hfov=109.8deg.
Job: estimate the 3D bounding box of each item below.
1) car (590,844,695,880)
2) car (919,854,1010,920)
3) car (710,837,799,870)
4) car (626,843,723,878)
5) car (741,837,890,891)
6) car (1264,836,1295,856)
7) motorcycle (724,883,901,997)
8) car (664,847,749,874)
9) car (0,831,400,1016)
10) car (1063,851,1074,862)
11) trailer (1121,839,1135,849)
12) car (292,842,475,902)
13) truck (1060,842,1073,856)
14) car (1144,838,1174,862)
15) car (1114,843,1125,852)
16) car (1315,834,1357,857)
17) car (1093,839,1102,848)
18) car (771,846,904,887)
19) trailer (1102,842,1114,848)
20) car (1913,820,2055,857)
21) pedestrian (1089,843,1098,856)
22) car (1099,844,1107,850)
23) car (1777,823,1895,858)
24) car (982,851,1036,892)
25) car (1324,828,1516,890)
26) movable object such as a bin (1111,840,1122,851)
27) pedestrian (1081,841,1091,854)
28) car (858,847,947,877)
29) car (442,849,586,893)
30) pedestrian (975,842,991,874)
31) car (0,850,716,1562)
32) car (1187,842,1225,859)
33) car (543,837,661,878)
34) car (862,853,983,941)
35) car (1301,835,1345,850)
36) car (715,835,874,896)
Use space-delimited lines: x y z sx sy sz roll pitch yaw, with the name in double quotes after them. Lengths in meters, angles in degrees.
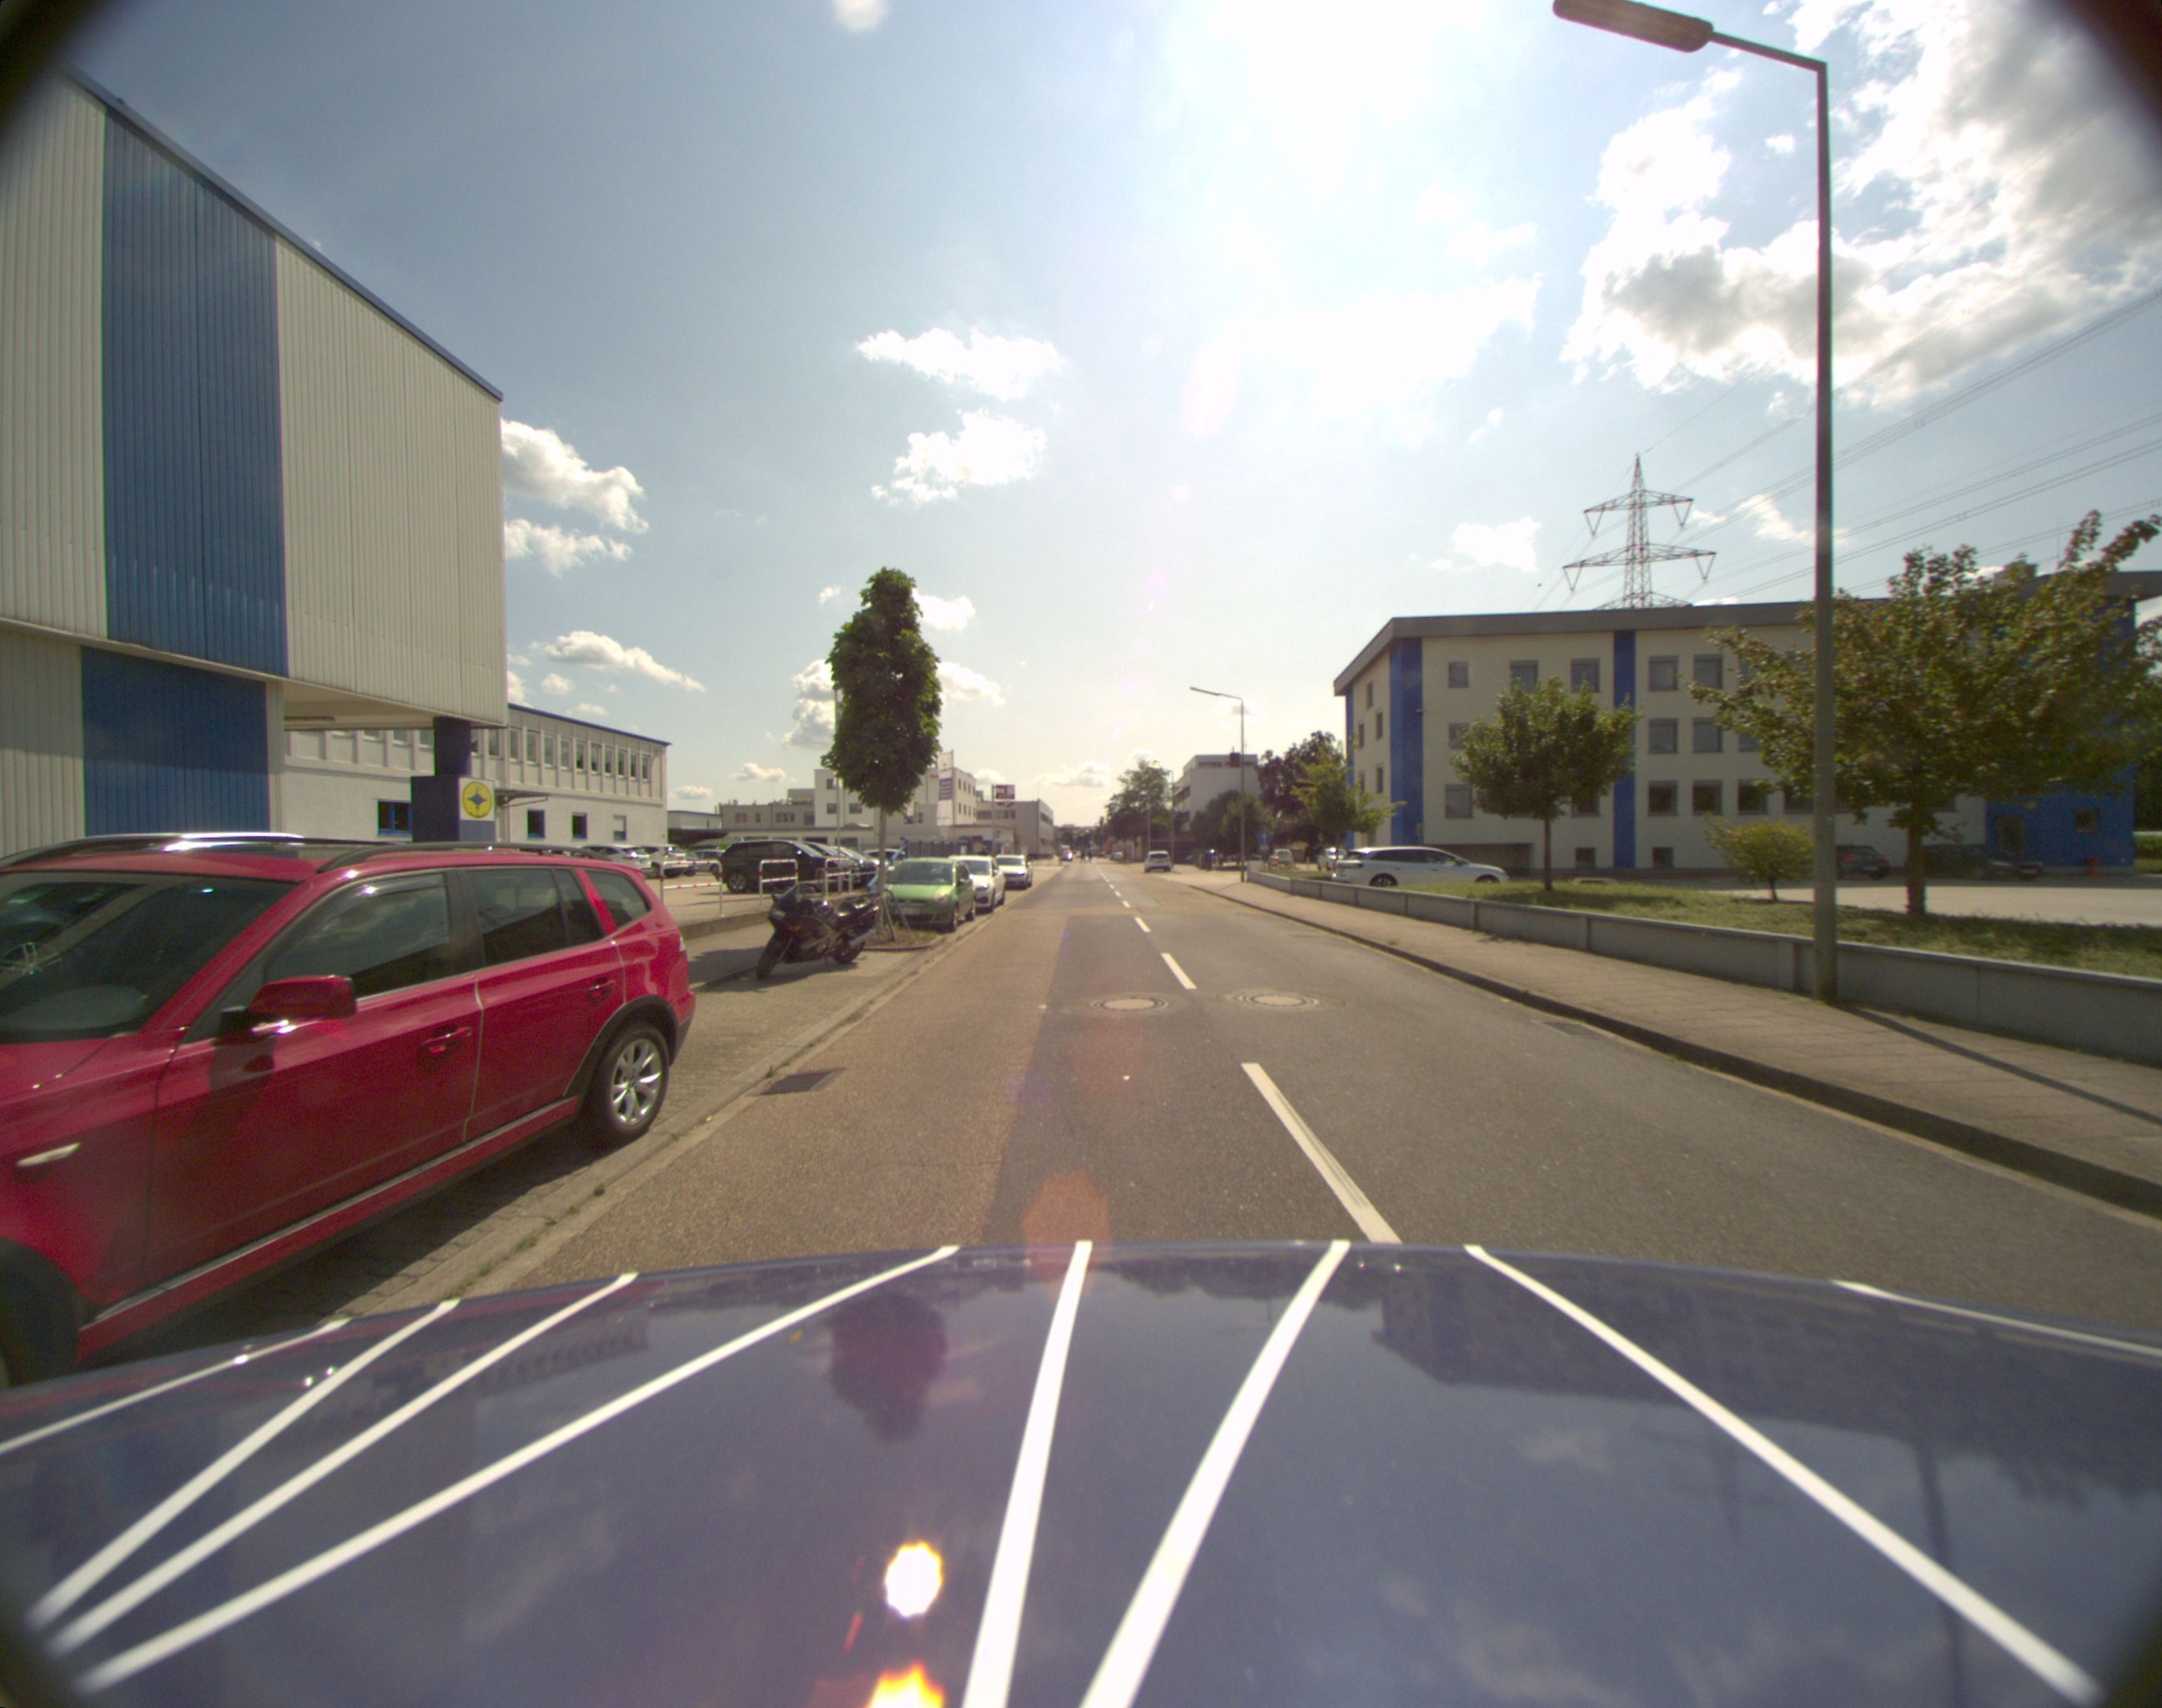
-21.308 0.385 37.031 3.997 1.621 1.806 -1 1 0 "car"
-3.182 0.839 21.648 1.840 1.512 4.460 -2 2 0 "car"
-21.210 -0.050 49.528 4.690 1.925 2.276 -2 1 2 "car"
-21.172 0.306 39.697 3.997 1.681 1.806 -1 1 0 "car"
-8.937 0.299 25.882 4.237 1.638 2.147 -2 1 -1 "car"
17.632 -0.750 67.663 1.828 1.627 4.845 -1 2 5 "car"
-3.476 1.056 10.143 0.856 1.194 2.366 -1 1 21 "motorcycle"
-21.234 0.347 43.202 3.891 1.478 1.864 0 2 4 "car"
-10.392 0.602 8.158 1.832 1.504 4.638 -2 4 1 "car"
-2.220 0.409 131.776 1.663 1.549 4.177 -4 2 1 "car"
7.131 -1.566 115.993 1.771 1.431 4.335 -4 2 1 "trailer"
-22.084 0.540 24.167 4.067 1.730 1.806 -1 1 0 "car"
-3.633 -1.366 193.740 2.608 3.208 8.072 -5 2 -5 "truck"
6.182 -0.345 60.754 1.872 1.699 4.751 -3 2 0 "car"
6.646 -1.092 132.447 1.677 1.447 4.512 -3 1 1 "car"
17.902 -0.638 53.520 1.877 1.498 3.758 -1 2 4 "car"
4.928 -3.120 225.434 2.079 2.528 5.821 -4 2 -2 "car"
-9.062 0.451 28.521 4.290 1.412 2.000 -1 1 1 "car"
6.153 -2.023 175.012 2.457 1.157 6.050 -3 1 0 "trailer"
36.877 -0.663 31.185 1.565 1.369 3.680 -1 3 5 "car"
1.801 -0.619 108.496 0.860 1.797 1.003 -2 2 -22 "pedestrian"
5.604 -1.757 195.142 1.714 1.459 4.628 -4 2 -1 "car"
32.109 -0.590 32.470 1.565 1.368 3.681 -1 1 5 "car"
-3.123 0.712 33.900 1.872 1.512 4.596 -2 2 0 "car"
9.919 0.120 22.535 4.766 1.593 2.000 -2 1 1 "car"
6.487 -1.579 139.026 1.618 1.908 5.137 -5 1 0 "movable object such as a bin"
0.720 -0.942 108.251 0.994 1.941 1.089 -2 2 -22 "pedestrian"
-8.976 0.399 38.479 3.997 1.412 2.000 -1 1 1 "car"
-21.596 0.623 29.080 3.997 1.499 1.934 -1 1 0 "car"
-5.489 0.222 42.678 0.771 1.747 0.787 0 2 0 "pedestrian"
-3.471 0.888 2.829 1.759 1.641 4.676 -2 2 2 "car"
13.175 -0.396 80.293 3.657 1.699 1.878 -2 2 0 "car"
-21.334 0.135 33.974 3.997 1.692 1.934 -1 1 0 "car"
-3.260 0.816 16.421 1.673 1.512 3.994 -2 2 1 "car"
25.527 -1.178 80.190 4.207 1.493 1.681 -1 2 5 "car"
-8.775 0.326 23.559 4.094 1.676 1.999 -2 1 -1 "car"
